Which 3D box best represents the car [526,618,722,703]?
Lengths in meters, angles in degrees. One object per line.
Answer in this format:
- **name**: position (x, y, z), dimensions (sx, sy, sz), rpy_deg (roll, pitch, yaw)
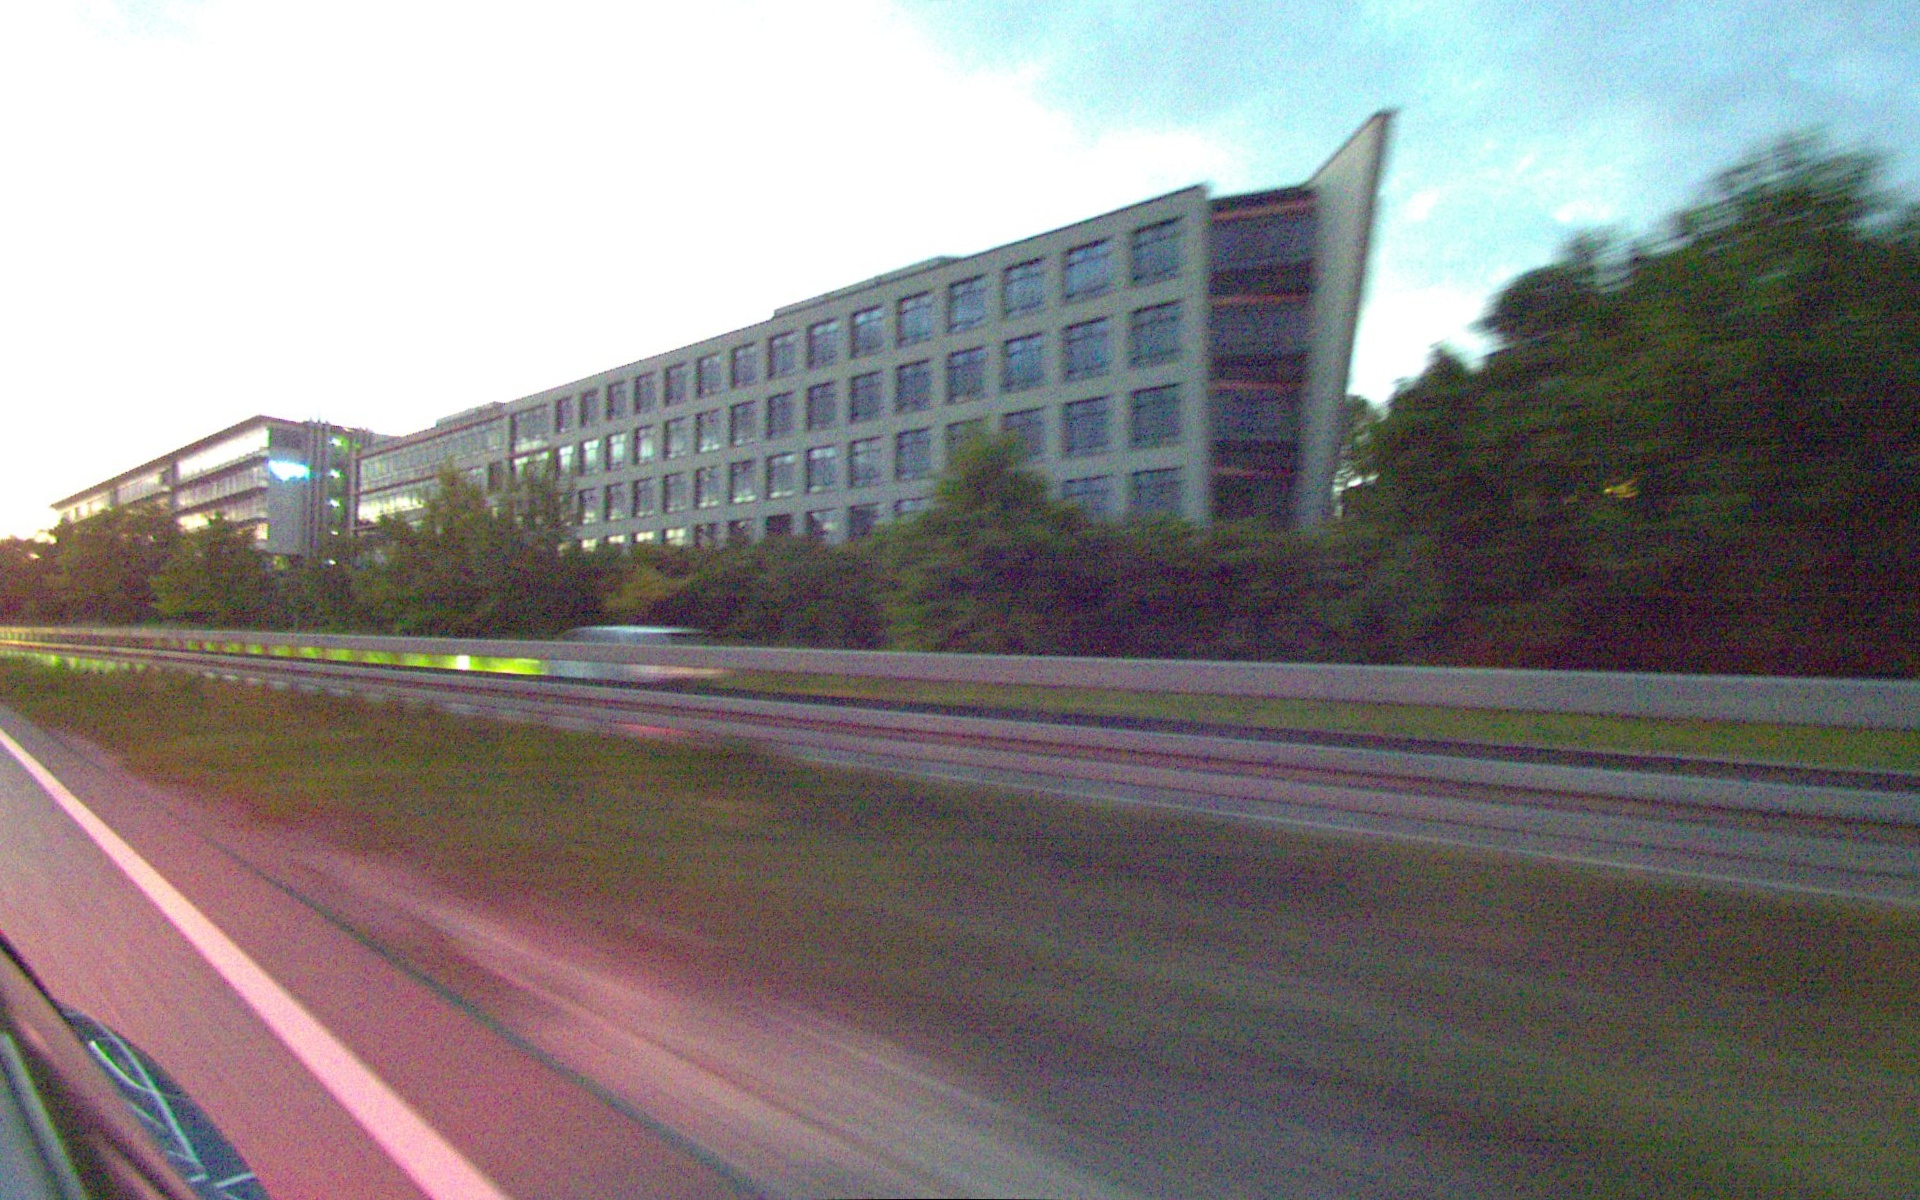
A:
- **car**: position (-7.319, 1.261, 21.842), dimensions (4.655, 1.654, 1.753), rpy_deg (-2, -3, 39)
